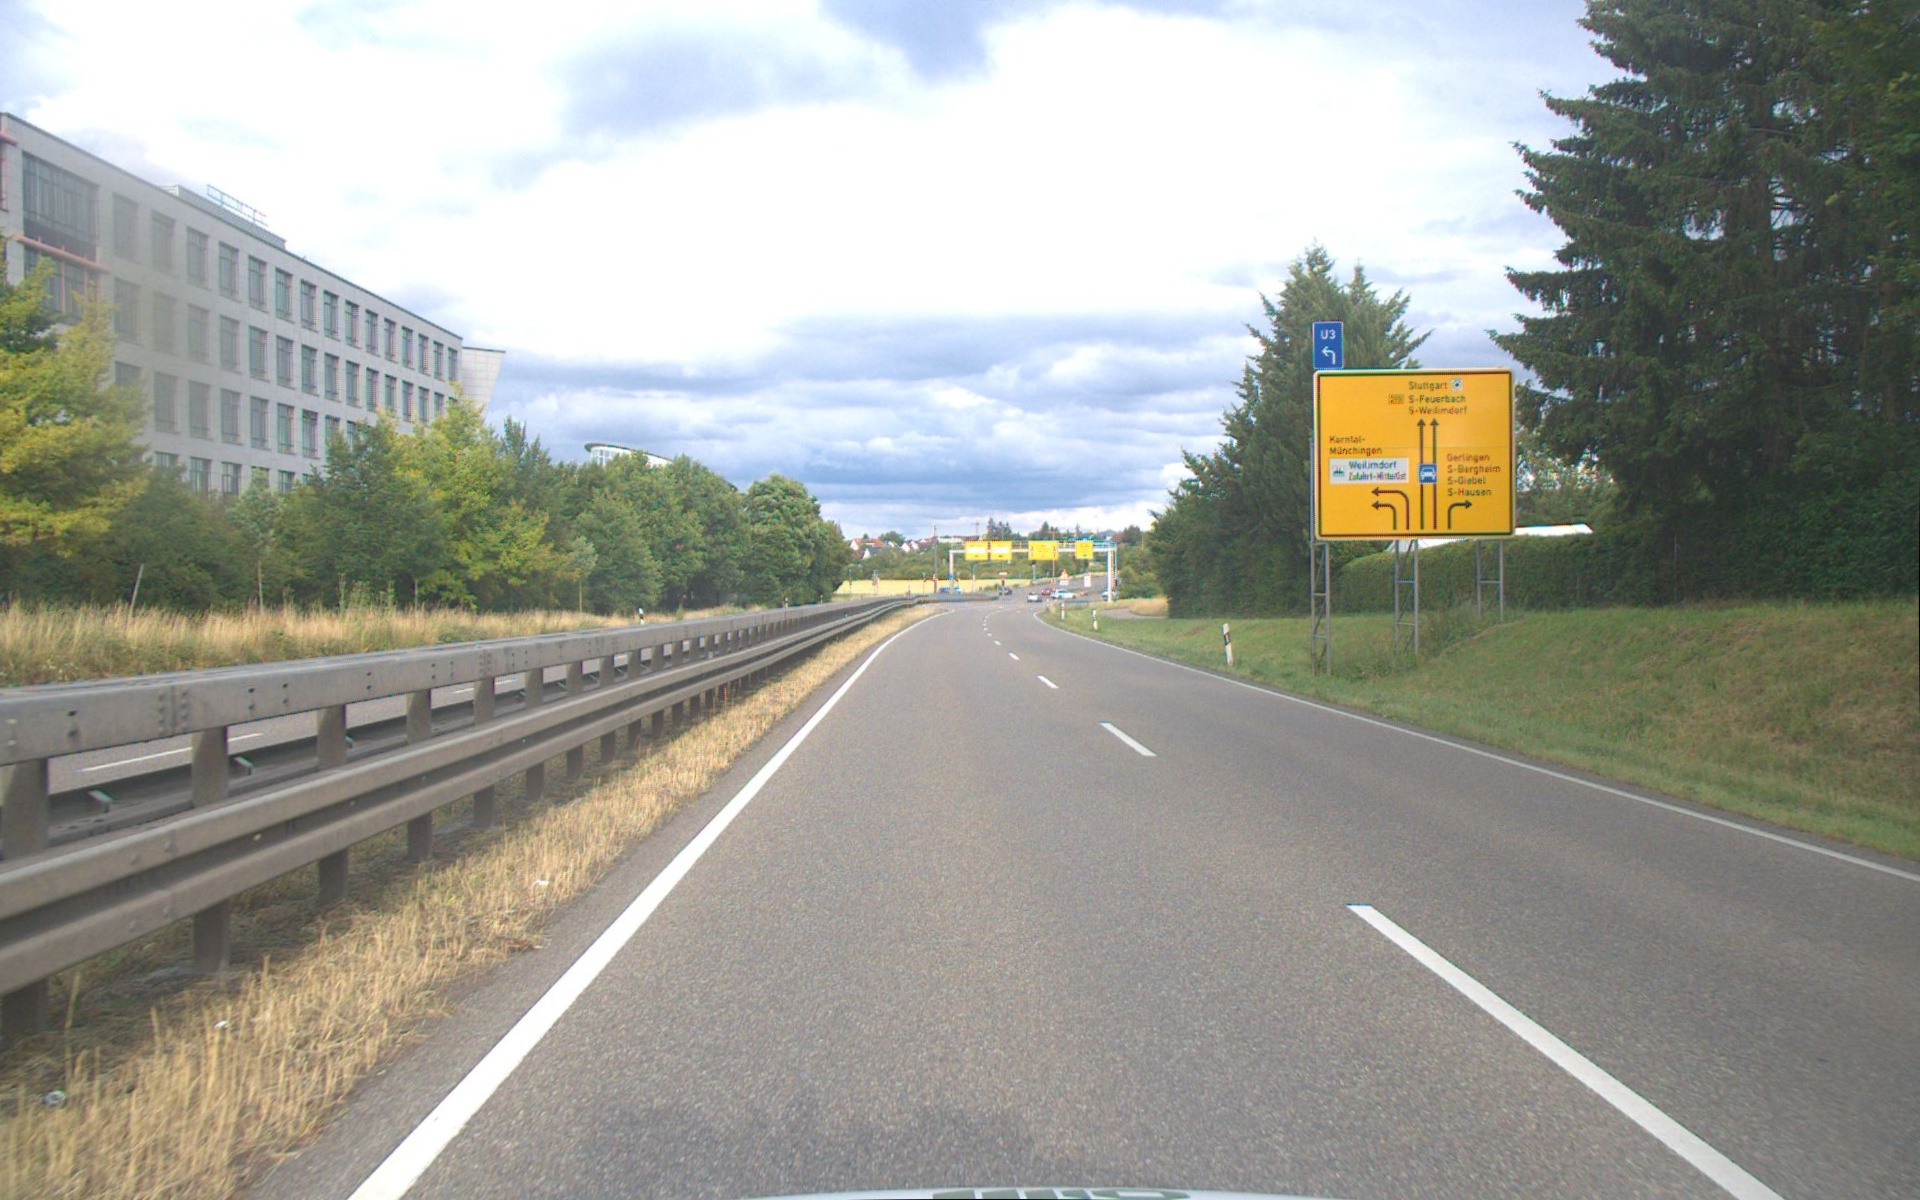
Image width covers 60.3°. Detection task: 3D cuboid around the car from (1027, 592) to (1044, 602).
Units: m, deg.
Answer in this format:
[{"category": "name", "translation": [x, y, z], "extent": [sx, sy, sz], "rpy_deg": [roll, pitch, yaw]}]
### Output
[{"category": "car", "translation": [11.393, -0.468, 249.589], "extent": [1.759, 1.583, 4.003], "rpy_deg": [0, 0, 13]}]
